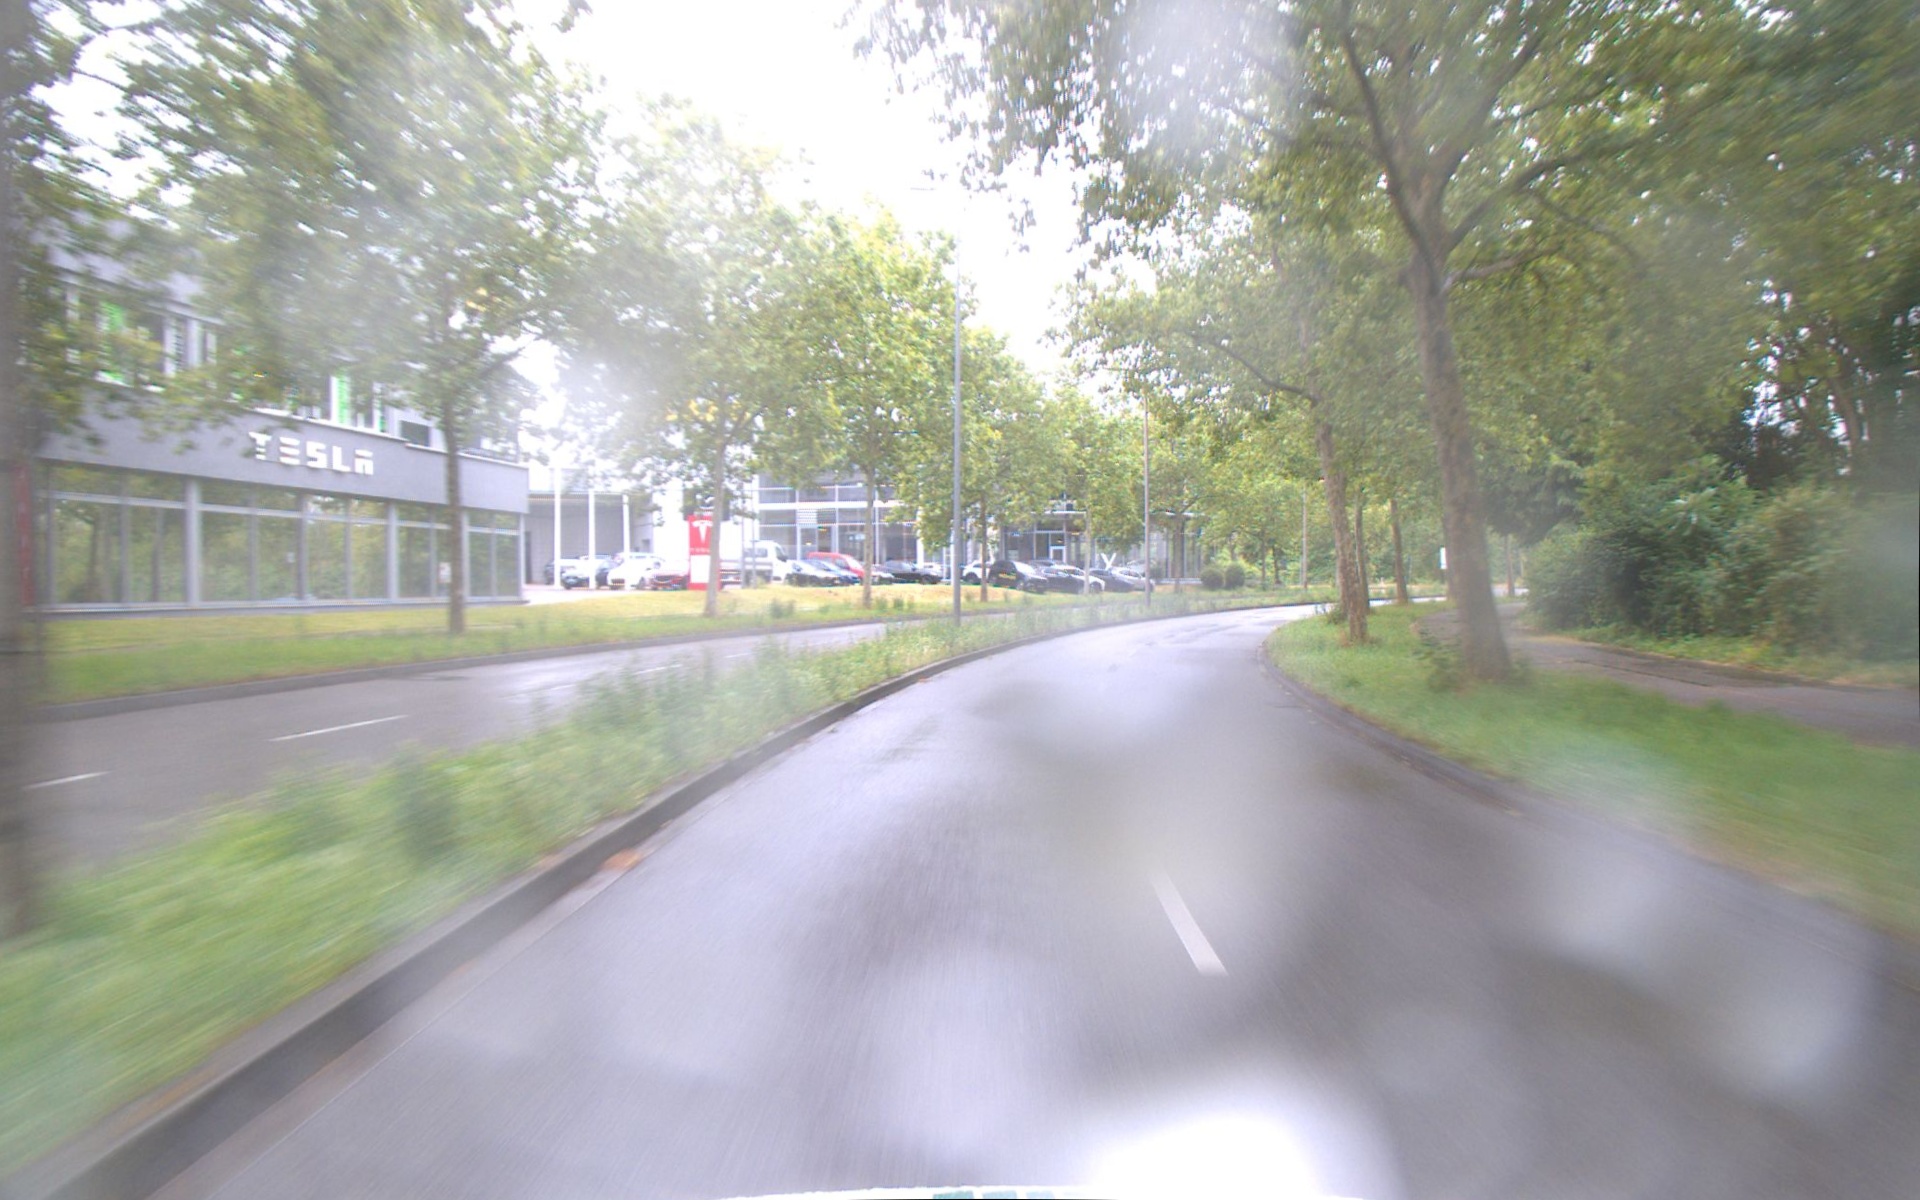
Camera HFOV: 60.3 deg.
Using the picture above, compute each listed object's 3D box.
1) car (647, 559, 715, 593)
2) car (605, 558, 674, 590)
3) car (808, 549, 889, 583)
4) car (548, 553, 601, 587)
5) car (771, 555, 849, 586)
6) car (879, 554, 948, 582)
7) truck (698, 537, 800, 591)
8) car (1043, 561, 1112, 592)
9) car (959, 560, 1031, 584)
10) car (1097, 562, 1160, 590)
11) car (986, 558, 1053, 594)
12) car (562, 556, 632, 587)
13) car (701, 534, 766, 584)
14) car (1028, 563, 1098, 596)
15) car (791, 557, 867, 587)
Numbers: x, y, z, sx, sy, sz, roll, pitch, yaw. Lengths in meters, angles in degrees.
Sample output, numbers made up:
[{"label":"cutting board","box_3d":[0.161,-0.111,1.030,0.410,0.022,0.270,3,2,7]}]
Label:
[{"label":"car","box_3d":[-13.511,-1.198,80.439,1.725,1.492,4.161,1,3,14]},{"label":"car","box_3d":[-15.856,-1.323,81.977,1.725,1.421,4.161,1,3,14]},{"label":"car","box_3d":[-5.986,-1.833,88.720,3.914,1.583,1.848,4,3,20]},{"label":"car","box_3d":[-21.830,-1.691,93.576,1.794,1.795,4.613,1,2,-28]},{"label":"car","box_3d":[-7.609,-1.506,83.974,3.451,1.349,1.769,4,3,20]},{"label":"car","box_3d":[-2.754,-1.905,98.176,3.913,1.380,1.849,3,3,2]},{"label":"truck","box_3d":[-10.126,-1.796,79.977,2.201,2.384,6.196,3,3,21]},{"label":"car","box_3d":[7.696,-1.540,108.534,4.054,1.503,1.840,5,5,-19]},{"label":"car","box_3d":[2.294,-1.823,107.751,4.329,1.499,1.921,1,1,18]},{"label":"car","box_3d":[11.776,-1.679,115.768,3.935,1.500,1.774,5,5,-24]},{"label":"car","box_3d":[3.668,-1.526,102.578,1.826,1.582,4.387,3,6,-35]},{"label":"car","box_3d":[-18.087,-1.442,82.561,1.725,1.421,4.161,1,3,14]},{"label":"car","box_3d":[-13.471,-2.465,98.111,2.139,2.800,5.292,1,2,-27]},{"label":"car","box_3d":[6.591,-1.319,105.804,4.044,1.503,1.844,6,5,-11]},{"label":"car","box_3d":[-6.822,-1.490,86.131,3.451,1.349,1.769,4,3,20]}]
